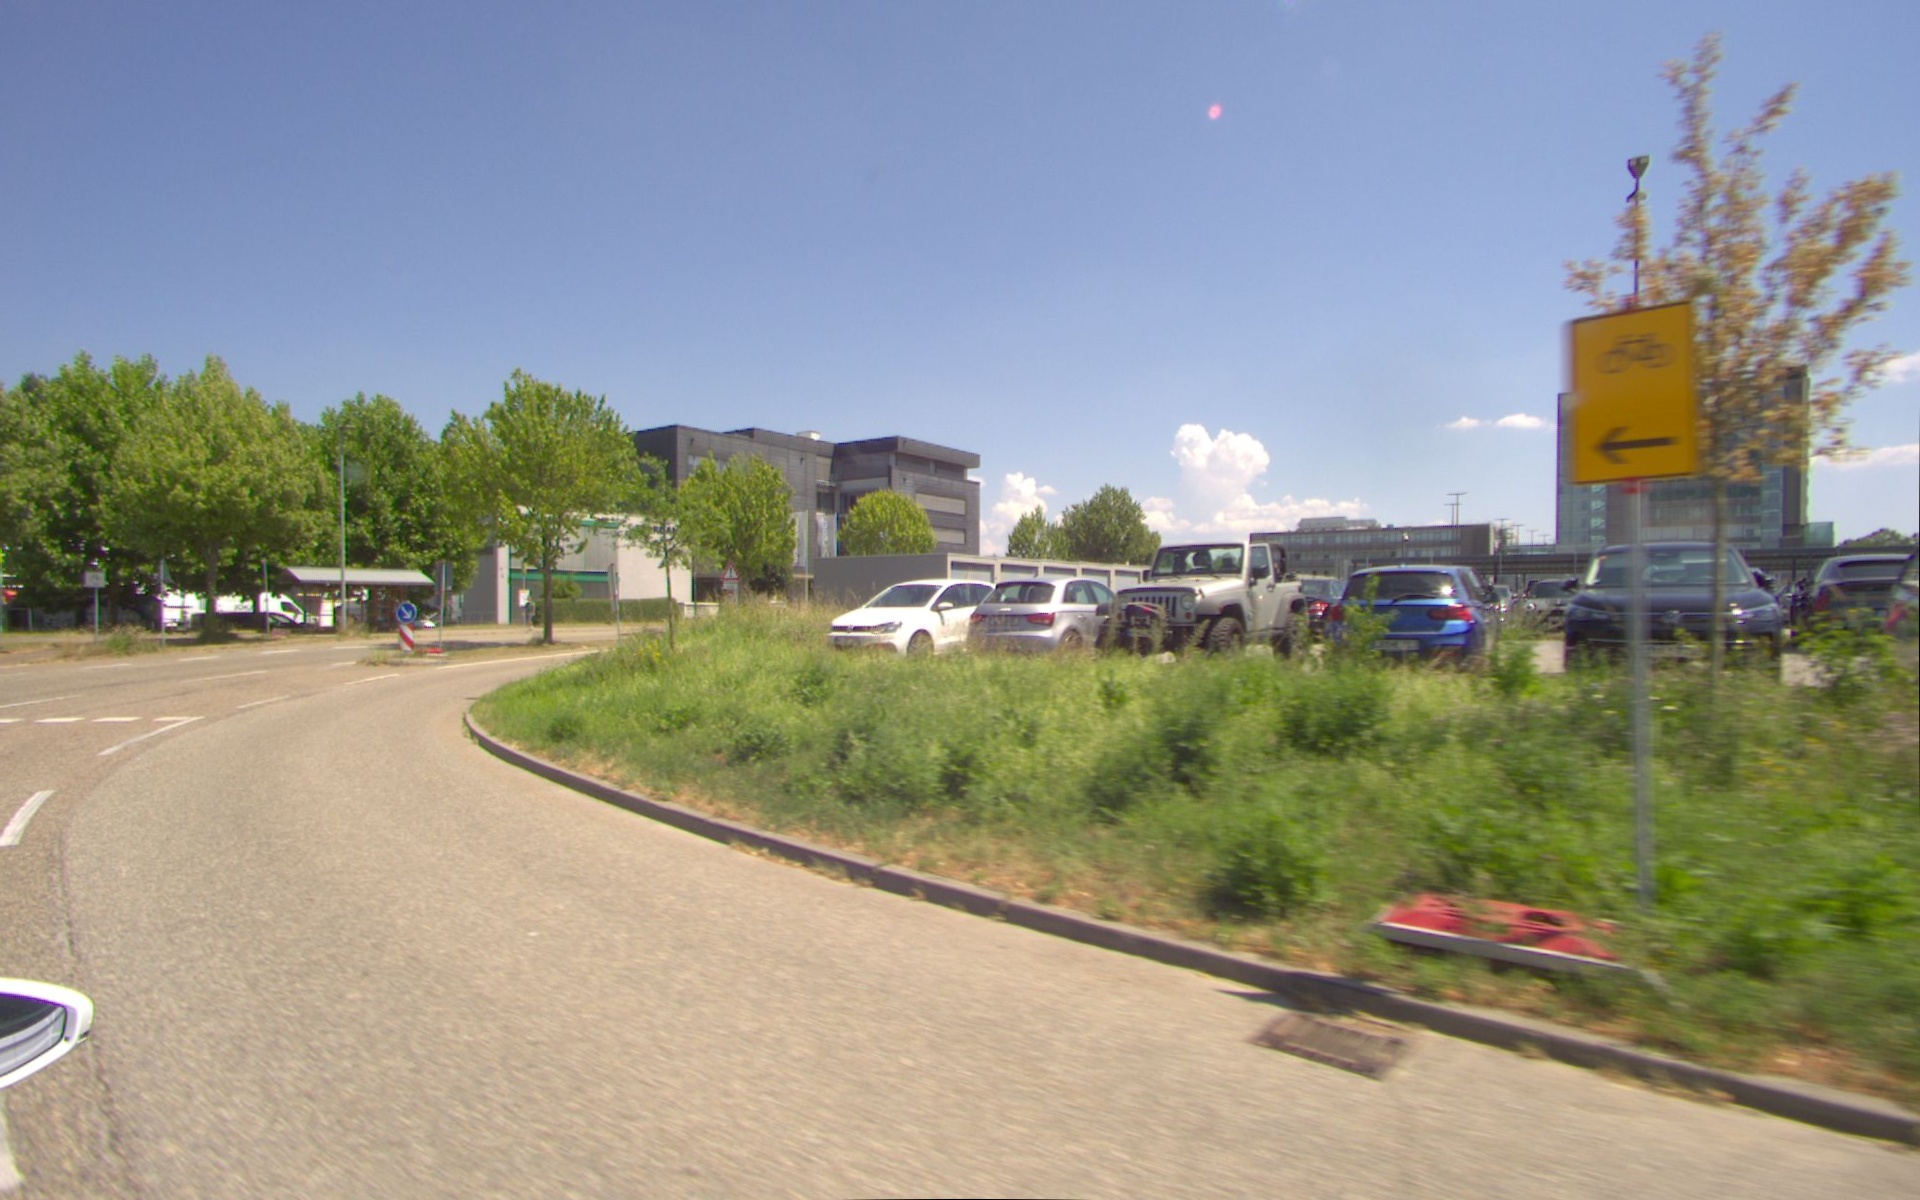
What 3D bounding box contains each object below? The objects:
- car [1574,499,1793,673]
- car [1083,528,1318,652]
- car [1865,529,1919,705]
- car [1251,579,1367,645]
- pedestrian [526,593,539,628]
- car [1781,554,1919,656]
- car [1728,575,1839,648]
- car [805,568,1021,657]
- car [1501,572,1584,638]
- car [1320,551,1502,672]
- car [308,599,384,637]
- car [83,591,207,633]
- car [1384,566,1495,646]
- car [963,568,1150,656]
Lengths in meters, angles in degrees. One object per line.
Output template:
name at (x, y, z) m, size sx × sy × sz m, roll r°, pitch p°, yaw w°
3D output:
car at (7.881, 0.009, 11.188) m, size 1.664 × 1.446 × 4.024 m, roll -1°, pitch -6°, yaw 33°
car at (3.601, -0.078, 14.599) m, size 1.855 × 1.547 × 3.720 m, roll -3°, pitch -2°, yaw 40°
car at (9.847, 0.144, 9.236) m, size 1.594 × 1.646 × 3.828 m, roll -1°, pitch 0°, yaw 33°
car at (8.129, 0.248, 23.153) m, size 1.630 × 1.380 × 3.826 m, roll -1°, pitch 0°, yaw 34°
pedestrian at (-21.279, 0.520, 49.830) m, size 0.523 × 1.691 × 0.577 m, roll 1°, pitch -2°, yaw -27°
car at (15.446, 0.088, 17.292) m, size 1.500 × 1.594 × 3.402 m, roll -1°, pitch 0°, yaw 32°
car at (18.666, 0.233, 22.831) m, size 1.576 × 1.519 × 3.618 m, roll -1°, pitch 0°, yaw 34°
car at (-0.671, 0.232, 16.806) m, size 1.555 × 1.314 × 3.853 m, roll -3°, pitch -2°, yaw 36°
car at (14.550, 0.118, 24.927) m, size 1.576 × 1.519 × 3.618 m, roll -1°, pitch 0°, yaw 34°
car at (5.853, 0.180, 12.741) m, size 1.563 × 1.273 × 3.927 m, roll -3°, pitch -2°, yaw 32°
car at (-34.262, 1.038, 55.863) m, size 4.196 × 2.039 × 1.545 m, roll -1°, pitch -3°, yaw 25°
car at (-36.306, 0.516, 44.684) m, size 1.817 × 1.751 × 3.972 m, roll -1°, pitch 0°, yaw 37°
car at (10.737, 0.115, 22.319) m, size 1.745 × 1.619 × 3.618 m, roll -1°, pitch 0°, yaw 34°
car at (1.587, 0.205, 15.618) m, size 1.482 × 1.197 × 3.251 m, roll -3°, pitch -2°, yaw 35°
